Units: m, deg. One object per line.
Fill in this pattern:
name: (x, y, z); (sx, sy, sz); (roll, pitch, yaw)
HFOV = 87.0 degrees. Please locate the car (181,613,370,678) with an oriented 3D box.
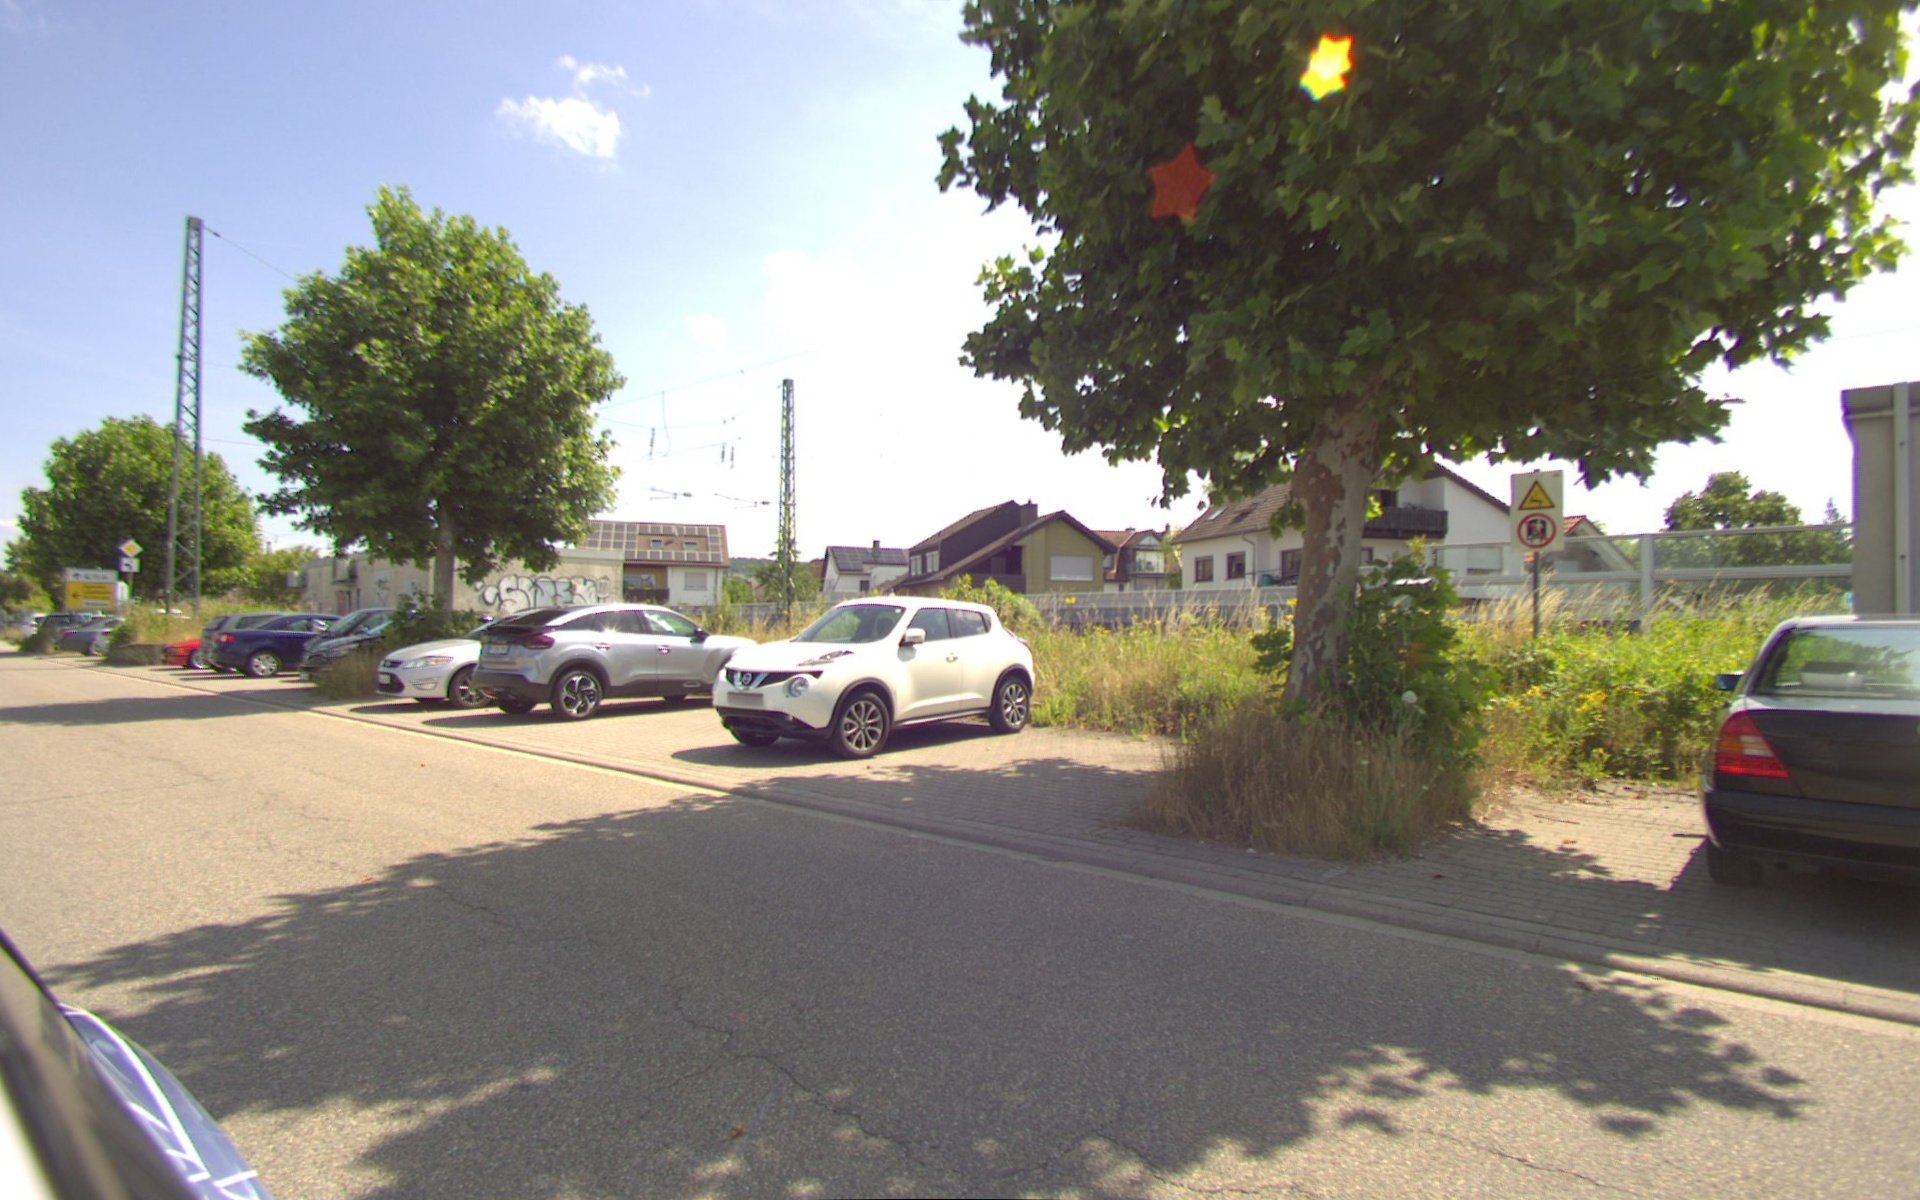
car: (-17.166, 1.094, 25.503); (1.683, 1.459, 3.629); (-1, -1, 40)

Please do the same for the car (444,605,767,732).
car: (-4.960, 0.879, 14.563); (1.998, 1.559, 3.947); (-1, -1, 40)

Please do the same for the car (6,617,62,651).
car: (-45.455, 1.658, 49.674); (4.264, 1.576, 1.783); (-1, -3, 45)

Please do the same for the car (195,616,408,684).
car: (-15.329, 1.128, 23.673); (3.899, 1.461, 1.788); (2, -2, -44)

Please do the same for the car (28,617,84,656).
car: (-38.171, 1.530, 42.770); (1.664, 1.542, 4.068); (2, -3, -41)

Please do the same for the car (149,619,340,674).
car: (-19.544, 1.251, 27.778); (1.673, 1.379, 4.029); (-3, -3, 42)

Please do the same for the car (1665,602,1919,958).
car: (5.211, 0.736, 5.538); (1.870, 1.406, 4.166); (-1, -1, 40)

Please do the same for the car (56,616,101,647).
car: (-54.708, 1.938, 62.786); (1.925, 1.847, 3.839); (2, -3, -43)

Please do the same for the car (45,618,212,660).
car: (-29.969, 1.402, 36.584); (1.786, 1.421, 4.382); (-1, -3, 39)

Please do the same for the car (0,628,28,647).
car: (-69.246, 2.719, 73.797); (4.001, 1.360, 1.586); (-1, -3, 44)

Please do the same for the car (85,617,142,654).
car: (-36.945, 1.528, 44.120); (1.769, 1.548, 3.583); (2, -3, -41)

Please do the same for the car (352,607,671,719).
car: (-7.039, 0.907, 16.244); (1.925, 1.544, 4.292); (-2, -2, 41)

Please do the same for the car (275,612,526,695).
car: (-11.110, 1.035, 20.309); (1.786, 1.484, 4.029); (-1, -2, 42)

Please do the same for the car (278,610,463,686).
car: (-12.992, 1.033, 22.416); (1.601, 1.549, 3.155); (0, -2, 40)

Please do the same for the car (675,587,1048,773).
car: (-0.890, 0.756, 10.987); (1.848, 1.630, 3.932); (-1, -2, 38)

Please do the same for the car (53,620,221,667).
car: (-26.895, 1.384, 33.182); (1.785, 1.412, 4.032); (-1, -1, 39)
